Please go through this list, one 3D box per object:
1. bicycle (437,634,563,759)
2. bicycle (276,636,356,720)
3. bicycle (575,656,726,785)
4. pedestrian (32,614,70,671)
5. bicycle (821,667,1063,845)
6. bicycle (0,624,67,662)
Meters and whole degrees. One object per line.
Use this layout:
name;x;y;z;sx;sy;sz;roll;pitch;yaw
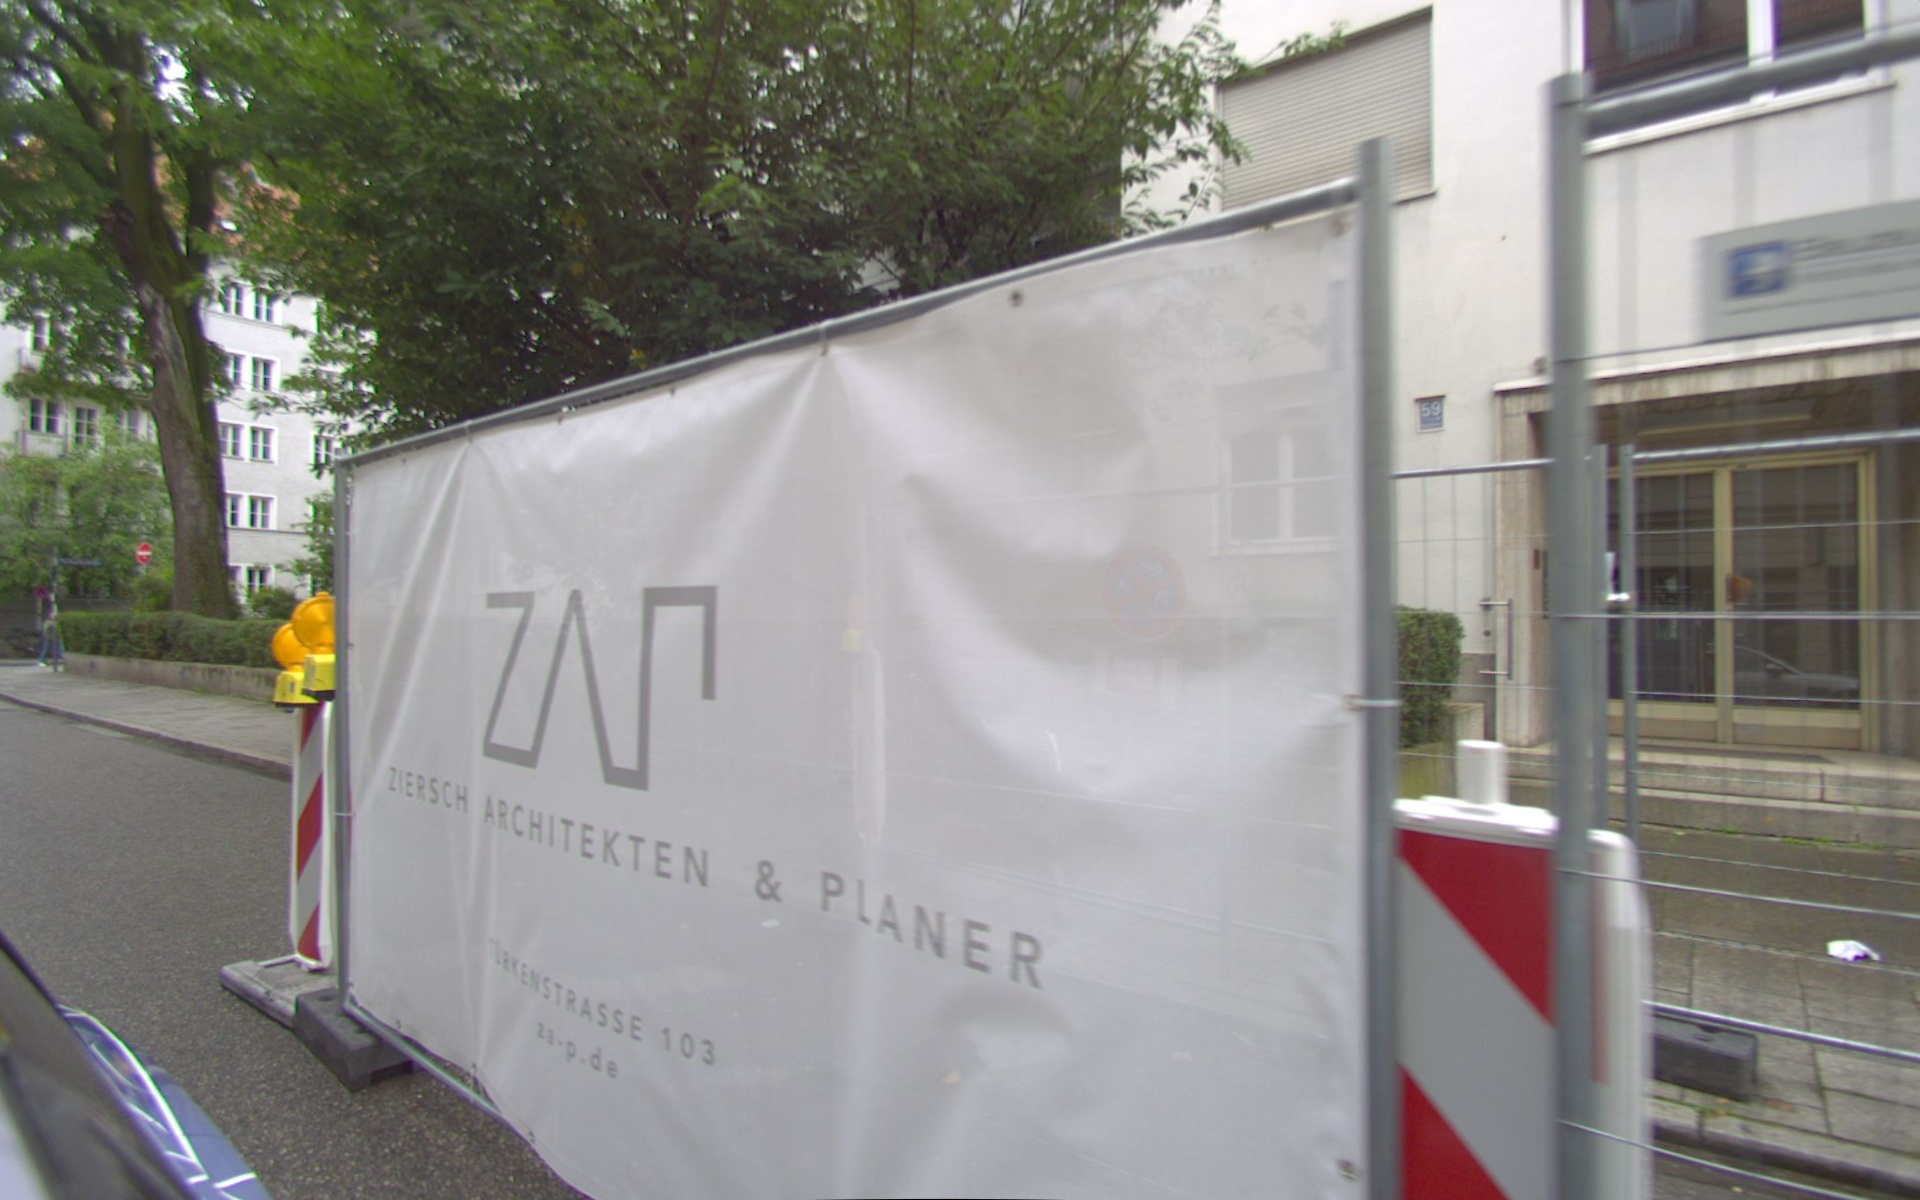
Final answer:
bicycle;-4.833;0.963;10.589;1.697;1.160;0.483;0;1;39
bicycle;-8.997;1.062;14.111;1.778;1.080;0.343;-1;1;38
bicycle;-2.829;1.043;9.154;1.697;0.986;0.431;0;1;40
pedestrian;-27.635;1.287;30.766;0.858;1.690;0.683;-1;0;36
bicycle;-0.172;1.011;6.995;1.814;0.986;0.439;0;1;40
bicycle;-31.438;1.448;34.229;0.431;1.270;1.790;-1;-2;36
